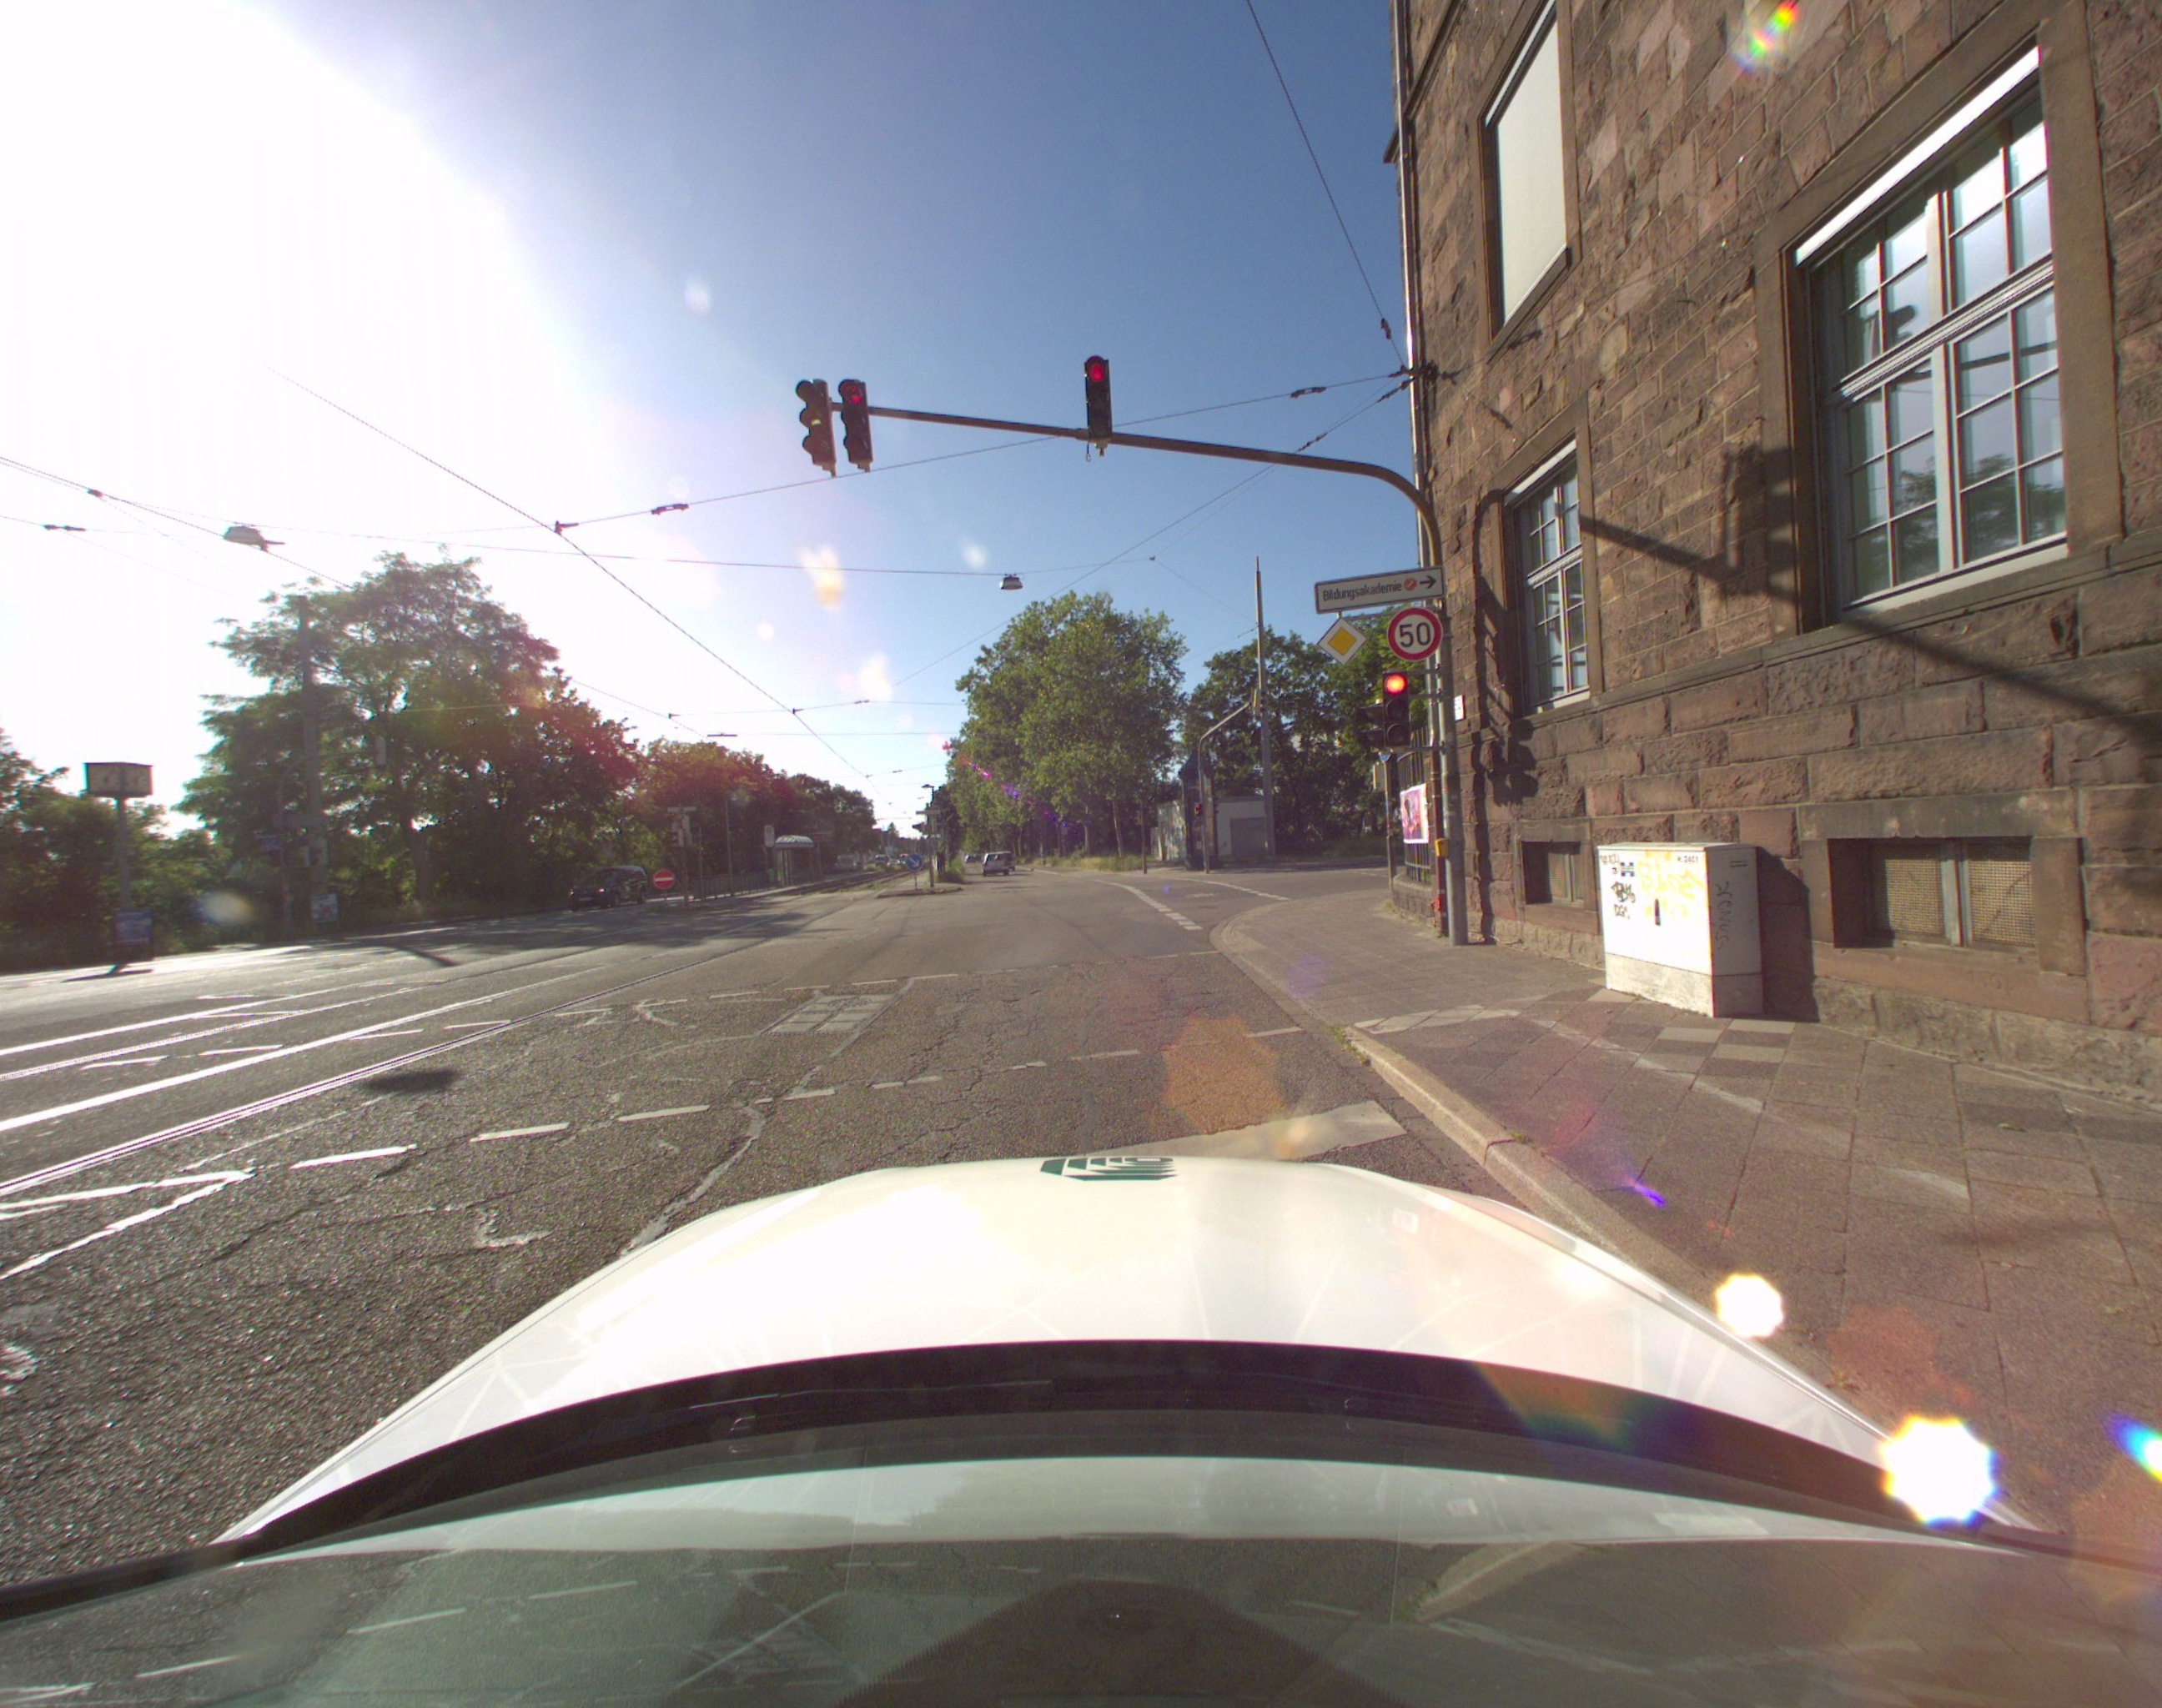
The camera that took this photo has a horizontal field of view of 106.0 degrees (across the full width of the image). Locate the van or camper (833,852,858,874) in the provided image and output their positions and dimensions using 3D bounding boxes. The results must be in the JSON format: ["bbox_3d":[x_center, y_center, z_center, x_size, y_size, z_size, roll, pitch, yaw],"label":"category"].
[{"bbox_3d":[-35.850,1.267,124.220,2.589,3.106,6.768,-4,0,-9],"label":"van or camper"}]

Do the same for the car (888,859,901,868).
[{"bbox_3d":[-35.082,1.740,153.289,1.919,1.567,3.990,-4,0,-7],"label":"car"}]

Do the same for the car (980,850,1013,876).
[{"bbox_3d":[-5.383,0.571,51.317,1.867,1.486,3.545,-3,0,-8],"label":"car"}]

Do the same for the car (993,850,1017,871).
[{"bbox_3d":[-6.110,0.516,65.114,1.750,1.604,3.739,1,0,-9],"label":"car"}]

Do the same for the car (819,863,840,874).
[{"bbox_3d":[-34.400,1.935,111.587,1.919,1.266,3.990,-4,0,-7],"label":"car"}]

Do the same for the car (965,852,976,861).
[{"bbox_3d":[-20.441,0.507,150.761,1.750,1.604,3.569,-4,1,-9],"label":"car"}]

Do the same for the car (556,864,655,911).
[{"bbox_3d":[-20.664,1.416,35.694,1.994,1.767,5.014,-4,0,-9],"label":"car"}]

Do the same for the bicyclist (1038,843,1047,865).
[{"bbox_3d":[-3.059,0.004,64.343,0.534,1.769,0.710,-4,0,-11],"label":"bicyclist"}]

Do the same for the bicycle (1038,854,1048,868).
[{"bbox_3d":[-3.018,0.549,64.305,0.536,1.066,1.428,-4,0,-10],"label":"bicycle"}]
